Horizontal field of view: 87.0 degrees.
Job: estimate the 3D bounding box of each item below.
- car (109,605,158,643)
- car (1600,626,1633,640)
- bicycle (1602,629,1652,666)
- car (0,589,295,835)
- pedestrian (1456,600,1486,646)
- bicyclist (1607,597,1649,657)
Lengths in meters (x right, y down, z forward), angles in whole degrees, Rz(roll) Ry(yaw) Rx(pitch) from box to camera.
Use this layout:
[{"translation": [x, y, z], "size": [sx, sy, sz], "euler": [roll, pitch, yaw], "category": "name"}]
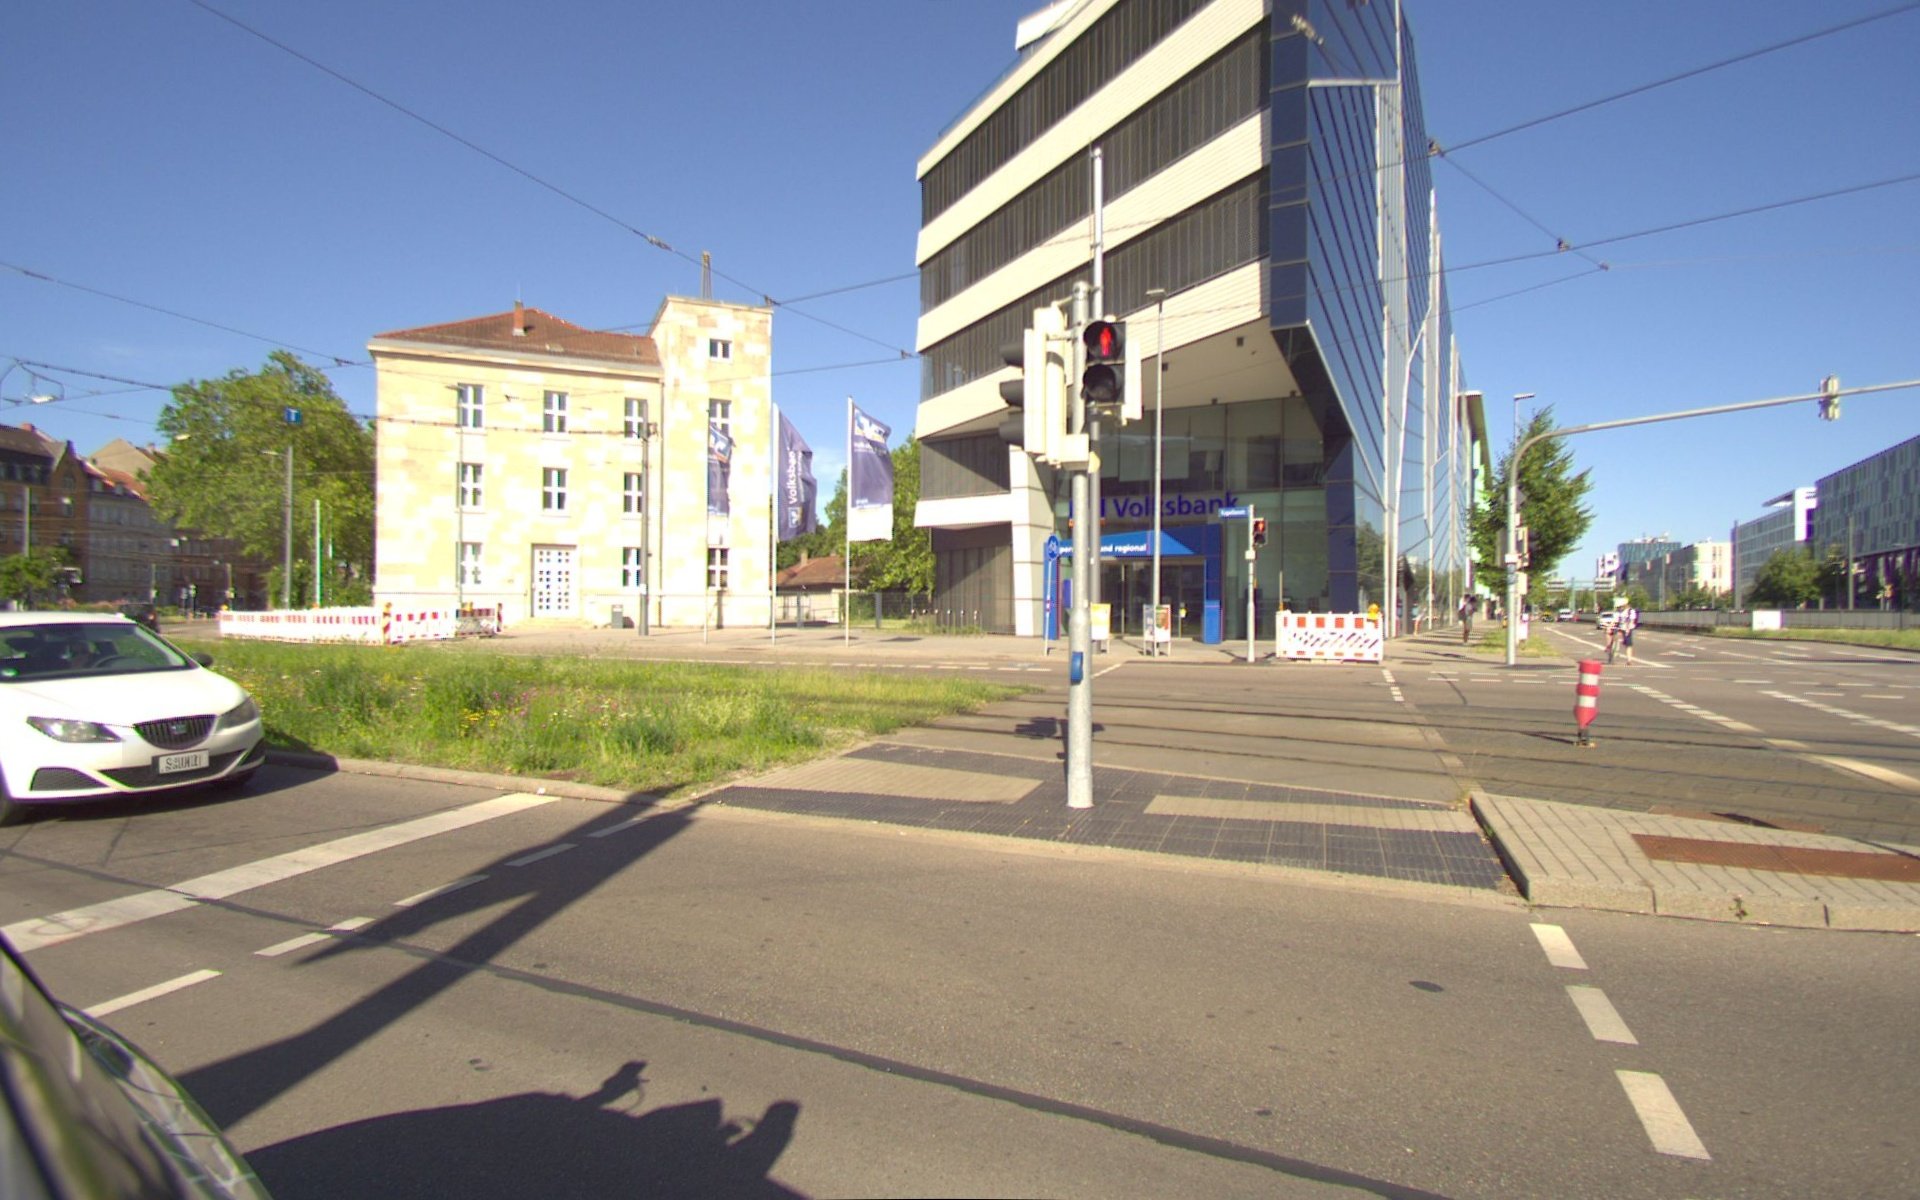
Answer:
[{"translation": [-39.585, 1.124, 48.530], "size": [1.742, 1.763, 4.008], "euler": [1, -1, -39], "category": "car"}, {"translation": [54.414, 2.692, 83.914], "size": [1.991, 1.098, 3.961], "euler": [0, -1, 29], "category": "car"}, {"translation": [16.276, 1.135, 24.650], "size": [0.769, 0.846, 2.534], "euler": [-1, -2, 39], "category": "bicycle"}, {"translation": [-7.077, 0.677, 7.736], "size": [3.816, 1.441, 1.655], "euler": [0, 2, 27], "category": "car"}, {"translation": [17.858, 0.799, 35.374], "size": [0.855, 1.567, 0.606], "euler": [-1, -1, 33], "category": "pedestrian"}, {"translation": [16.292, 0.645, 24.675], "size": [0.761, 1.420, 0.761], "euler": [-1, -1, 39], "category": "bicyclist"}]
